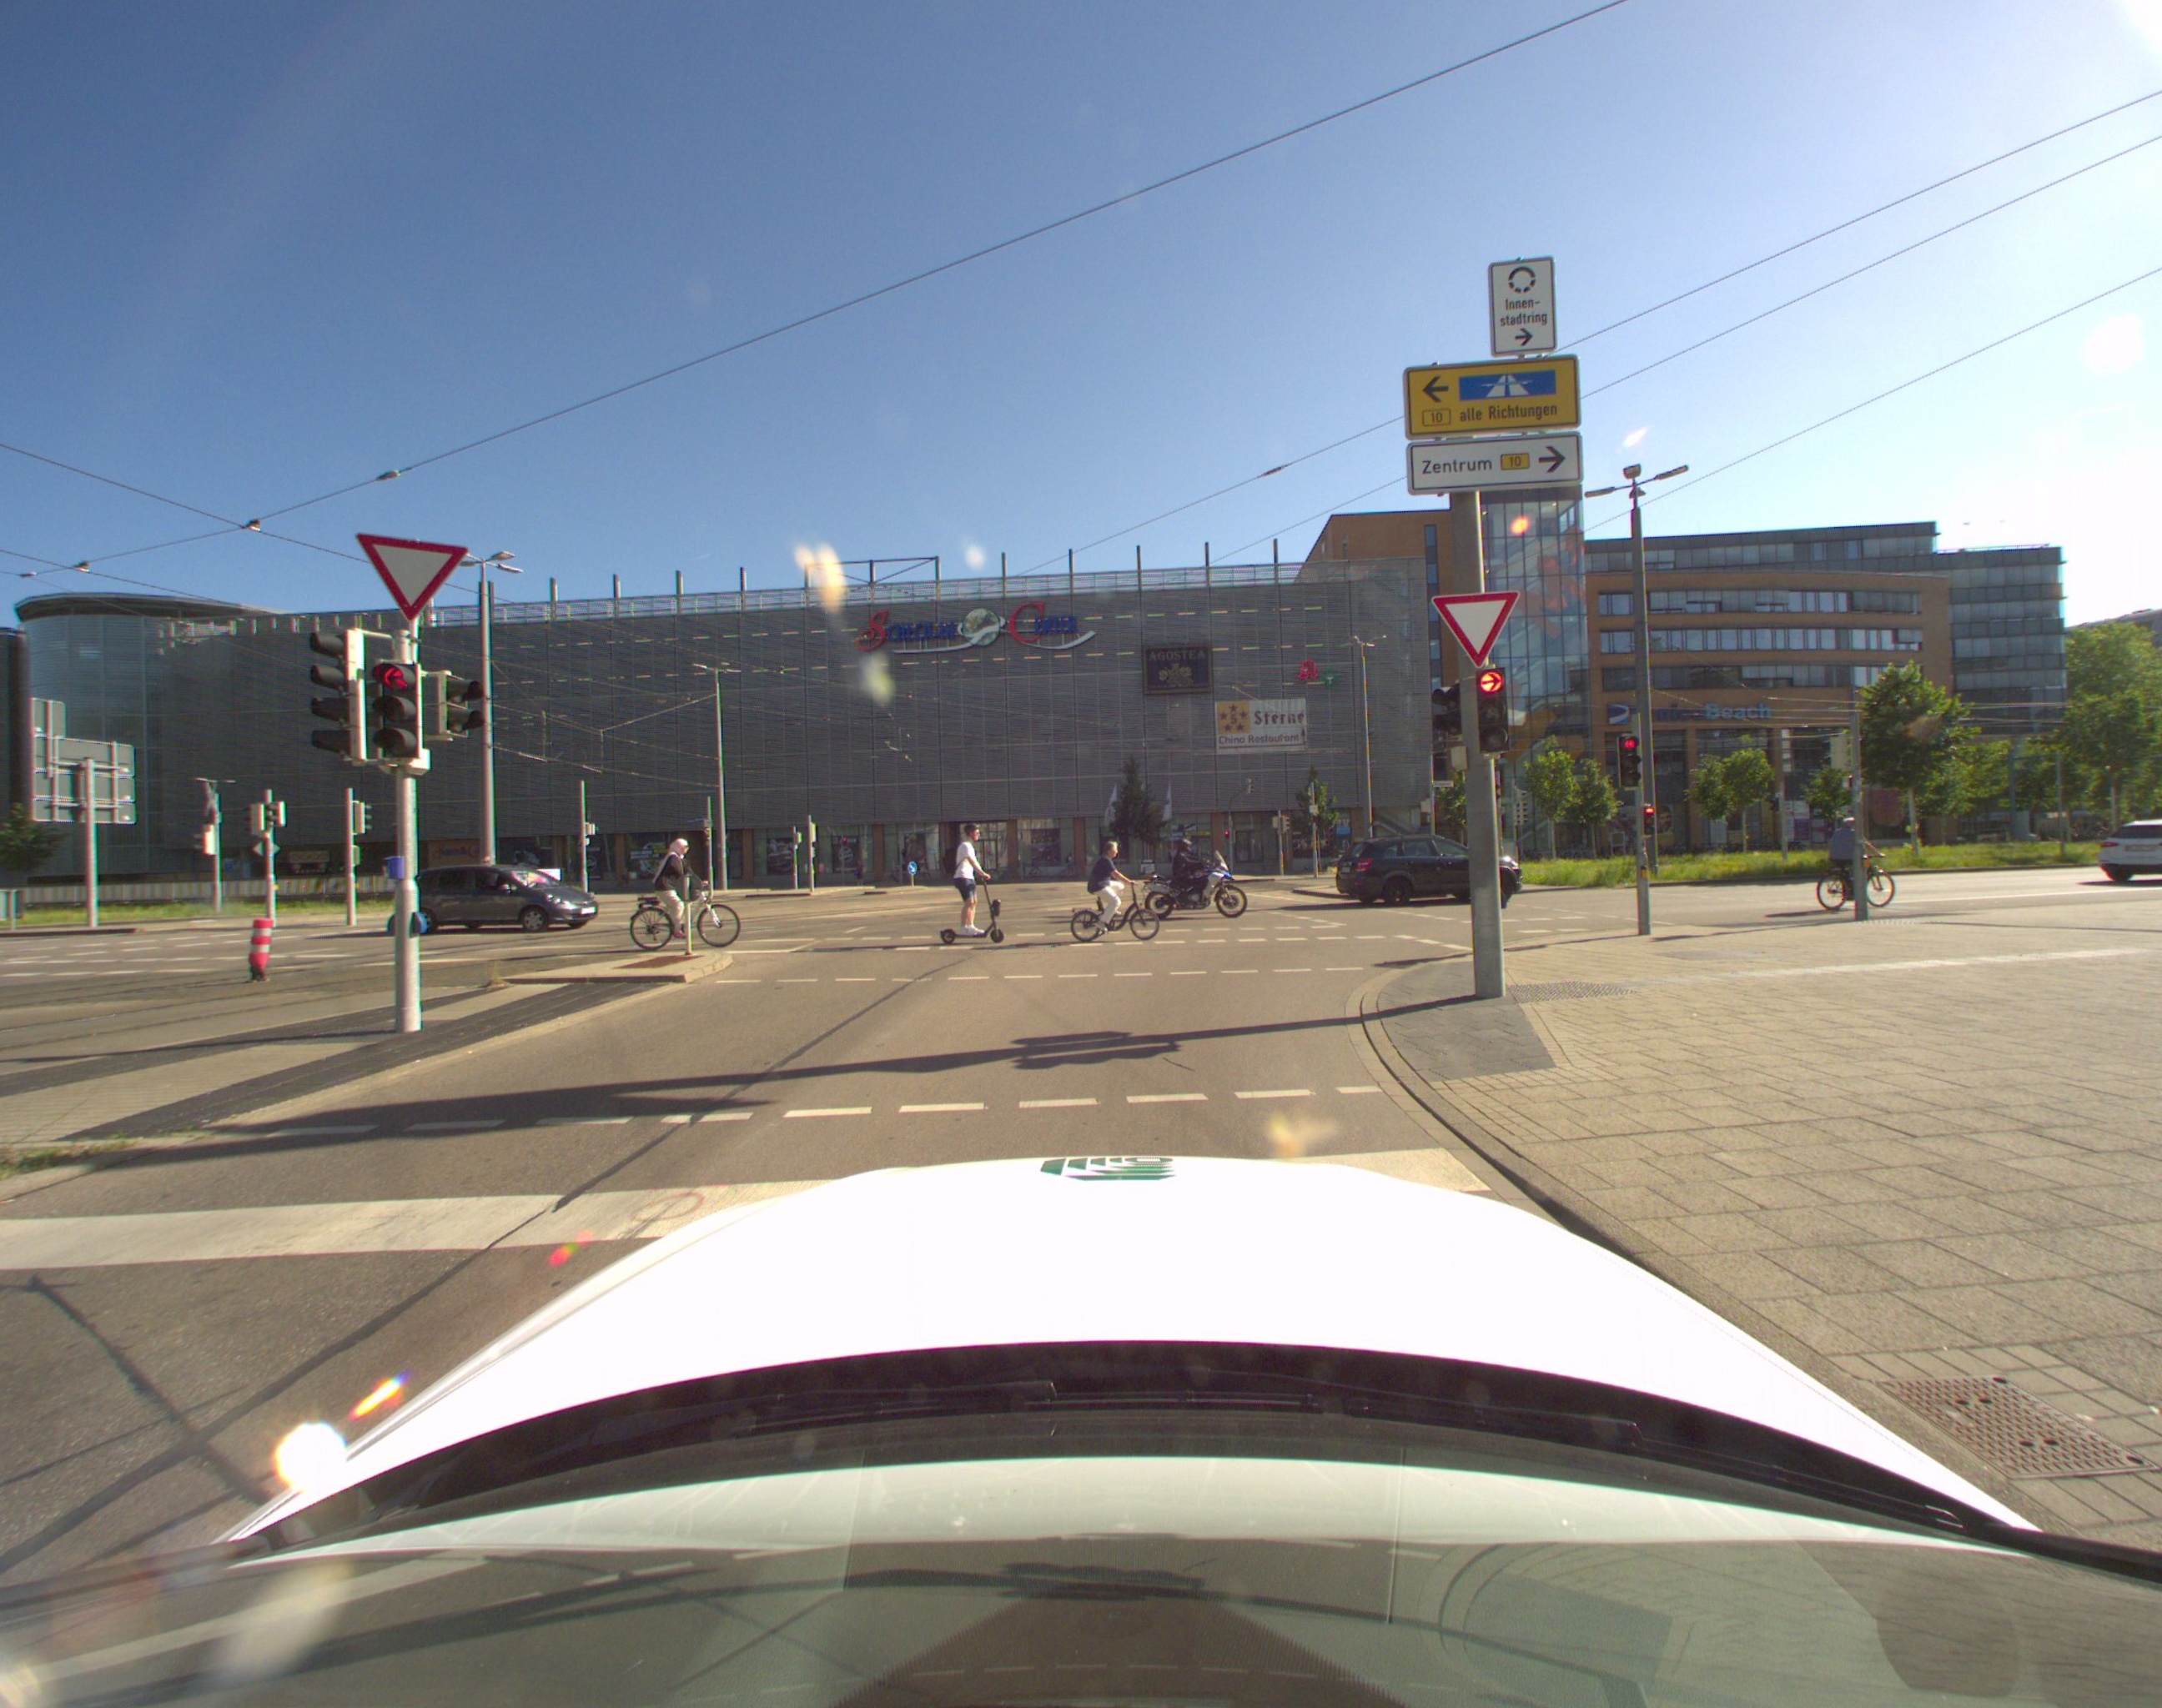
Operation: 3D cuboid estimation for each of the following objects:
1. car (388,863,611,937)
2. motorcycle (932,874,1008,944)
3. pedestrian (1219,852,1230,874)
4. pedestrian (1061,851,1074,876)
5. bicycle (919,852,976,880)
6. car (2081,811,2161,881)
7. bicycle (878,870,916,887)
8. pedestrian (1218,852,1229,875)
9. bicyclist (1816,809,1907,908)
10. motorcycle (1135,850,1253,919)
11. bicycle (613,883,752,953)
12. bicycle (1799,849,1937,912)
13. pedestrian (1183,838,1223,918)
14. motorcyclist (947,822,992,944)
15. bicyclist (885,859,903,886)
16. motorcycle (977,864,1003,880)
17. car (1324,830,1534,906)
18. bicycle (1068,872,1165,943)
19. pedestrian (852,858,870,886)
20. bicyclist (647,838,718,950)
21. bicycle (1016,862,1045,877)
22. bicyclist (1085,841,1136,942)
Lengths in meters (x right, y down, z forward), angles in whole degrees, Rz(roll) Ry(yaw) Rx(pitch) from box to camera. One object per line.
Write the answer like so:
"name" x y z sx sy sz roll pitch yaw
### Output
"car" -13.165 1.011 18.607 3.739 1.525 1.823 -1 0 0
"motorcycle" -1.870 0.919 13.781 1.182 1.121 0.483 -2 -1 1
"pedestrian" 9.727 0.622 55.096 0.587 1.462 0.658 -2 -1 1
"pedestrian" -0.976 0.697 59.727 0.845 1.763 0.620 -2 -1 1
"bicycle" -10.049 0.906 61.433 3.971 2.013 1.331 -1 0 2
"car" 27.575 -0.258 19.902 4.483 1.635 1.835 -2 1 -6
"bicycle" -12.502 1.635 55.333 2.256 1.070 1.034 -2 -1 -39
"pedestrian" 9.535 0.622 54.381 0.587 1.535 0.658 -2 -1 1
"bicyclist" 15.326 0.089 16.015 0.898 1.859 0.855 -2 -1 2
"motorcycle" 2.427 0.643 17.682 2.435 1.419 0.915 -1 0 0
"bicycle" -6.589 1.047 13.529 1.920 1.036 0.694 -2 0 -2
"bicycle" 15.425 0.508 16.006 1.822 1.116 0.854 -3 -1 1
"pedestrian" 2.641 0.515 17.697 0.741 1.677 0.665 -2 -1 1
"motorcyclist" -1.886 0.477 13.806 0.625 2.014 0.498 -2 -1 2
"bicyclist" -12.655 1.277 55.185 0.849 1.803 0.806 -1 -1 -40
"motorcycle" -6.306 1.217 56.300 1.641 1.059 0.499 -2 -1 11
"car" 8.757 0.316 20.682 4.630 1.718 1.835 -1 1 -7
"bicycle" 0.587 0.883 13.707 1.571 1.107 0.734 -1 0 -1
"pedestrian" -15.029 1.252 55.560 0.894 1.868 0.826 -2 -1 44
"bicyclist" -6.616 0.654 13.554 0.761 1.789 0.762 -2 -1 -2
"bicycle" -3.781 1.168 60.960 2.019 1.059 1.145 -2 0 1
"bicyclist" 0.486 0.615 13.767 0.780 1.648 0.690 -2 -1 -1
